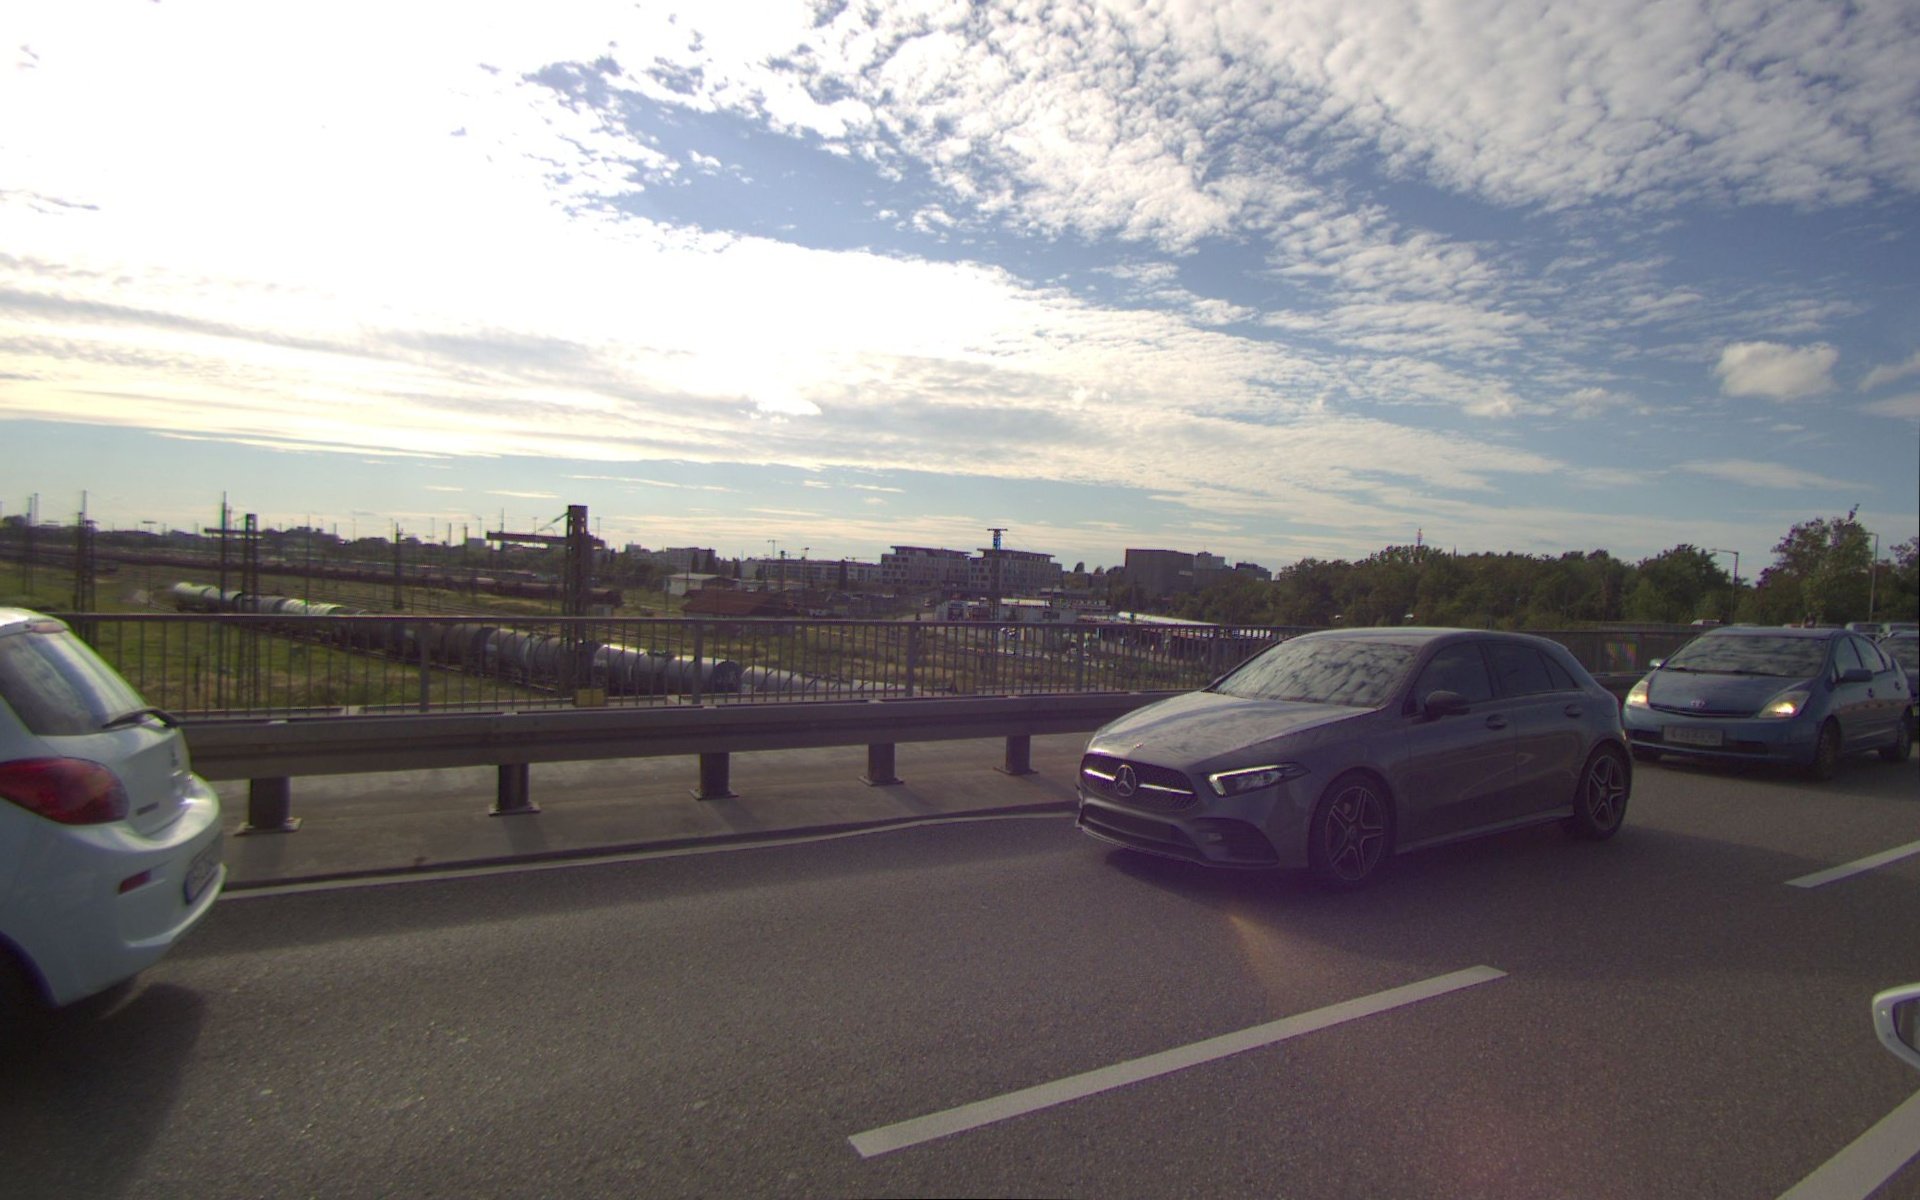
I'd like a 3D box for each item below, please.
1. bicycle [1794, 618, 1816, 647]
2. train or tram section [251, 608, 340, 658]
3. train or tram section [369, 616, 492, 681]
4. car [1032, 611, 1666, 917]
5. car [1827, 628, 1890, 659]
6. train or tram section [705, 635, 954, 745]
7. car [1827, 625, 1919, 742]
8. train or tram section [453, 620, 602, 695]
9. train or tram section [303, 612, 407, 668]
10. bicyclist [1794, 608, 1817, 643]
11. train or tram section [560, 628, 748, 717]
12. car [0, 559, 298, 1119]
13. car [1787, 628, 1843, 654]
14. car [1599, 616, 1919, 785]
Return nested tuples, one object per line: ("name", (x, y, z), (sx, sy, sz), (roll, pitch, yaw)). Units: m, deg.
("bicycle", (40.862, 1.586, 48.588), (0.755, 1.349, 1.908), (1, -1, 38))
("train or tram section", (-71.254, 3.407, 107.461), (16.491, 4.775, 3.083), (1, 0, 39))
("train or tram section", (-45.977, 3.998, 86.731), (16.491, 4.775, 3.083), (1, 0, 39))
("car", (2.736, 0.857, 6.761), (4.277, 1.476, 1.803), (2, -2, -32))
("car", (49.489, 2.369, 55.397), (1.715, 1.521, 4.070), (1, -1, 30))
("train or tram section", (-7.722, 4.642, 55.646), (16.491, 4.775, 3.083), (1, 0, 39))
("car", (14.281, 1.143, 14.577), (4.405, 1.509, 1.746), (1, -1, -38))
("train or tram section", (-33.182, 4.165, 76.362), (16.491, 4.775, 3.083), (1, 0, 39))
("train or tram section", (-58.764, 3.719, 97.196), (16.491, 4.775, 3.083), (1, 0, 39))
("bicyclist", (40.971, 1.237, 48.682), (0.757, 1.682, 1.115), (1, 0, 38))
("train or tram section", (-20.458, 4.457, 65.969), (16.491, 4.775, 3.083), (1, 0, 39))
("car", (-4.319, 0.641, 2.865), (3.874, 1.566, 1.676), (1, 0, -28))
("car", (53.426, 2.548, 62.828), (1.714, 1.521, 4.072), (1, -1, 27))
("car", (9.005, 0.969, 11.150), (4.348, 1.509, 1.748), (1, -1, -36))
